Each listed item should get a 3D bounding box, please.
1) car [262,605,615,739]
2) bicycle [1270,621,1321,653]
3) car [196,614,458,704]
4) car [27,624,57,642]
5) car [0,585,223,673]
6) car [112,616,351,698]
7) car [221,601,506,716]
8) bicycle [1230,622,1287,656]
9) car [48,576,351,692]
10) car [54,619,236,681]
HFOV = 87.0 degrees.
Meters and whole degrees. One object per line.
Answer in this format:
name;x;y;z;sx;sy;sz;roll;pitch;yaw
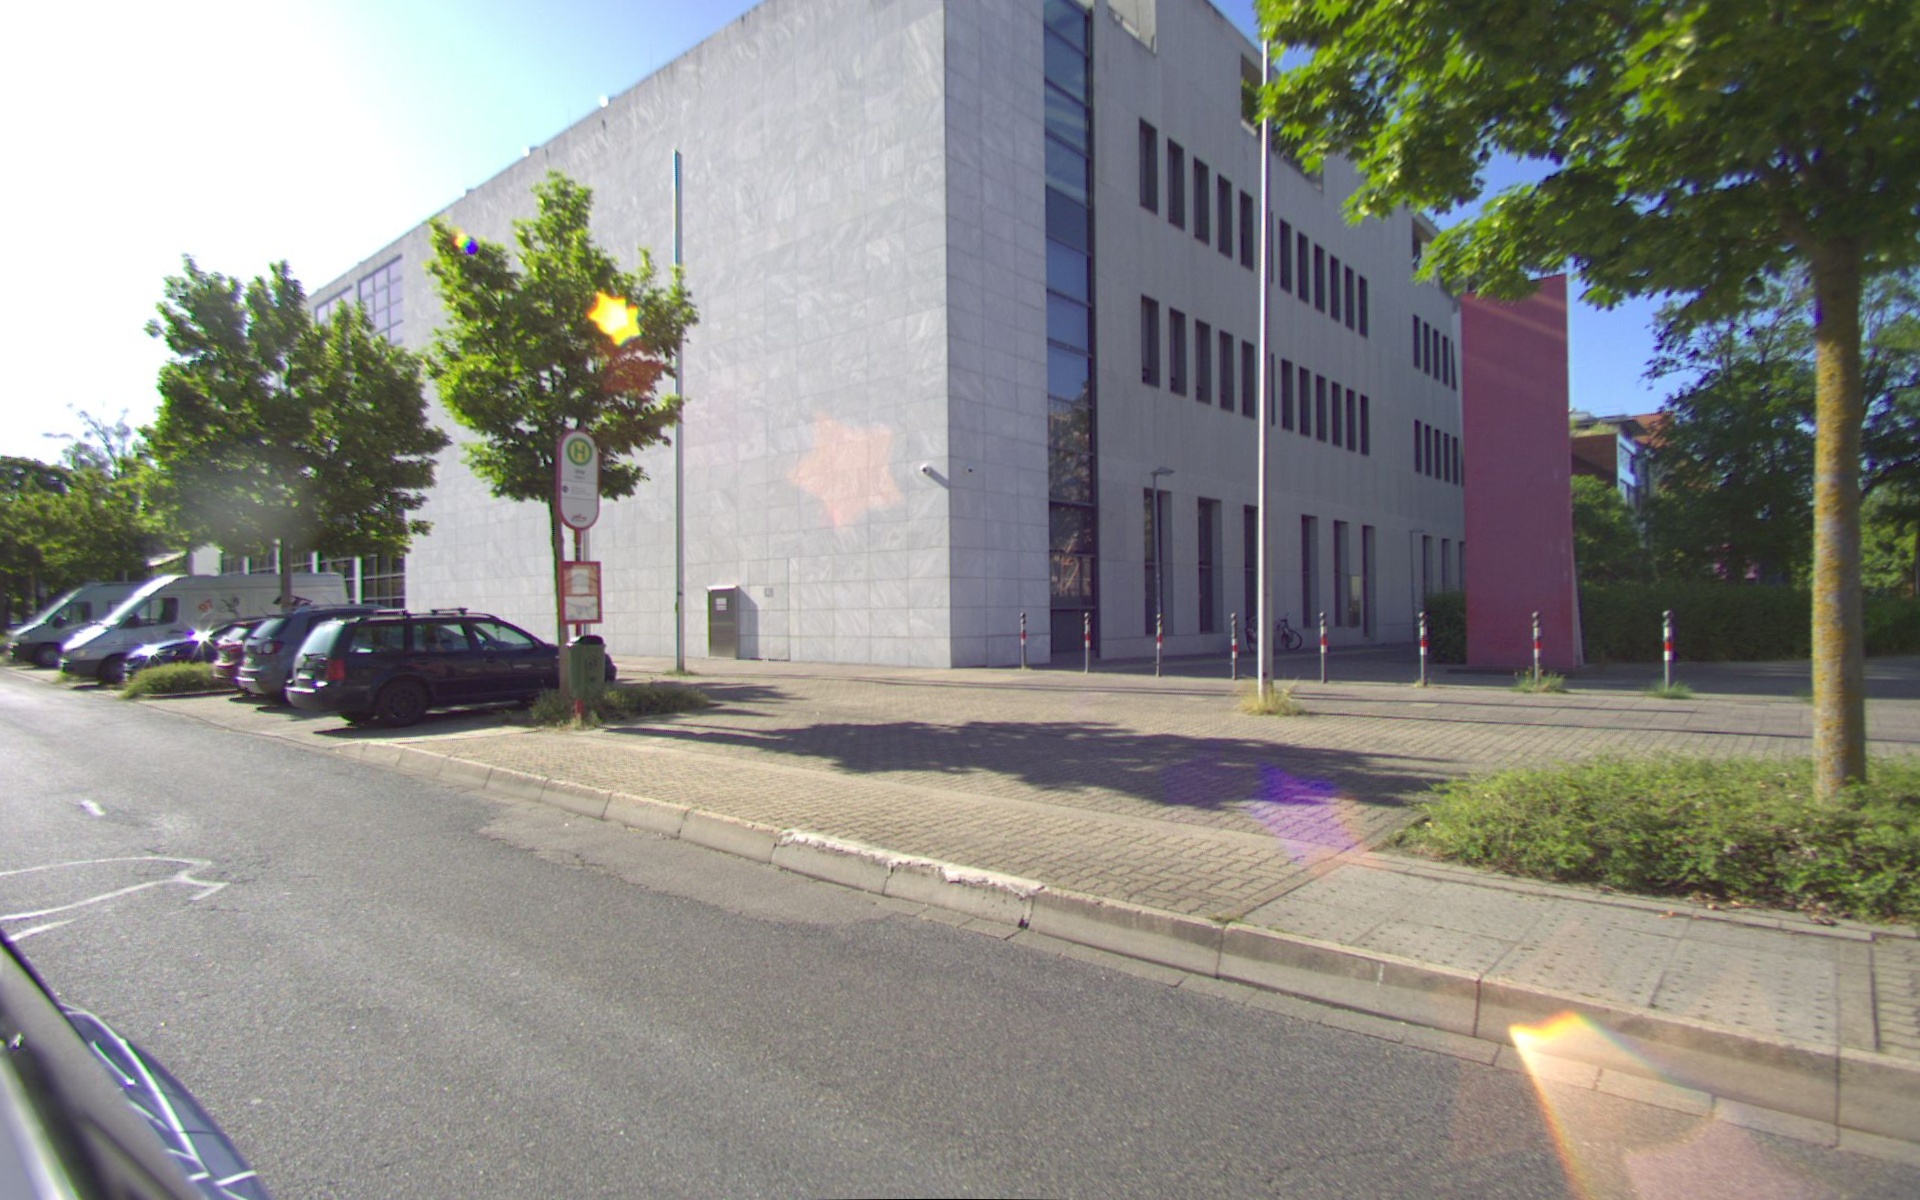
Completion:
car;-7.344;0.924;14.545;1.868;1.504;4.087;-3;0;42
bicycle;10.413;1.133;31.352;0.738;0.942;2.224;-3;-3;39
car;-12.124;1.044;19.555;1.855;1.529;3.945;-1;-1;41
car;-85.557;3.036;94.287;1.809;1.626;4.146;2;-3;-45
car;-26.888;0.838;32.167;2.122;2.436;5.193;-2;1;42
car;-15.611;1.147;21.820;1.785;1.496;3.890;-1;0;42
car;-10.385;0.932;17.806;1.828;1.677;3.943;-1;1;44
bicycle;8.541;1.099;28.881;0.738;0.942;2.224;-2;-2;39
car;-17.977;0.695;24.202;1.987;2.428;5.491;-2;0;42
car;-23.146;1.374;28.840;1.848;1.483;3.789;-2;0;43
